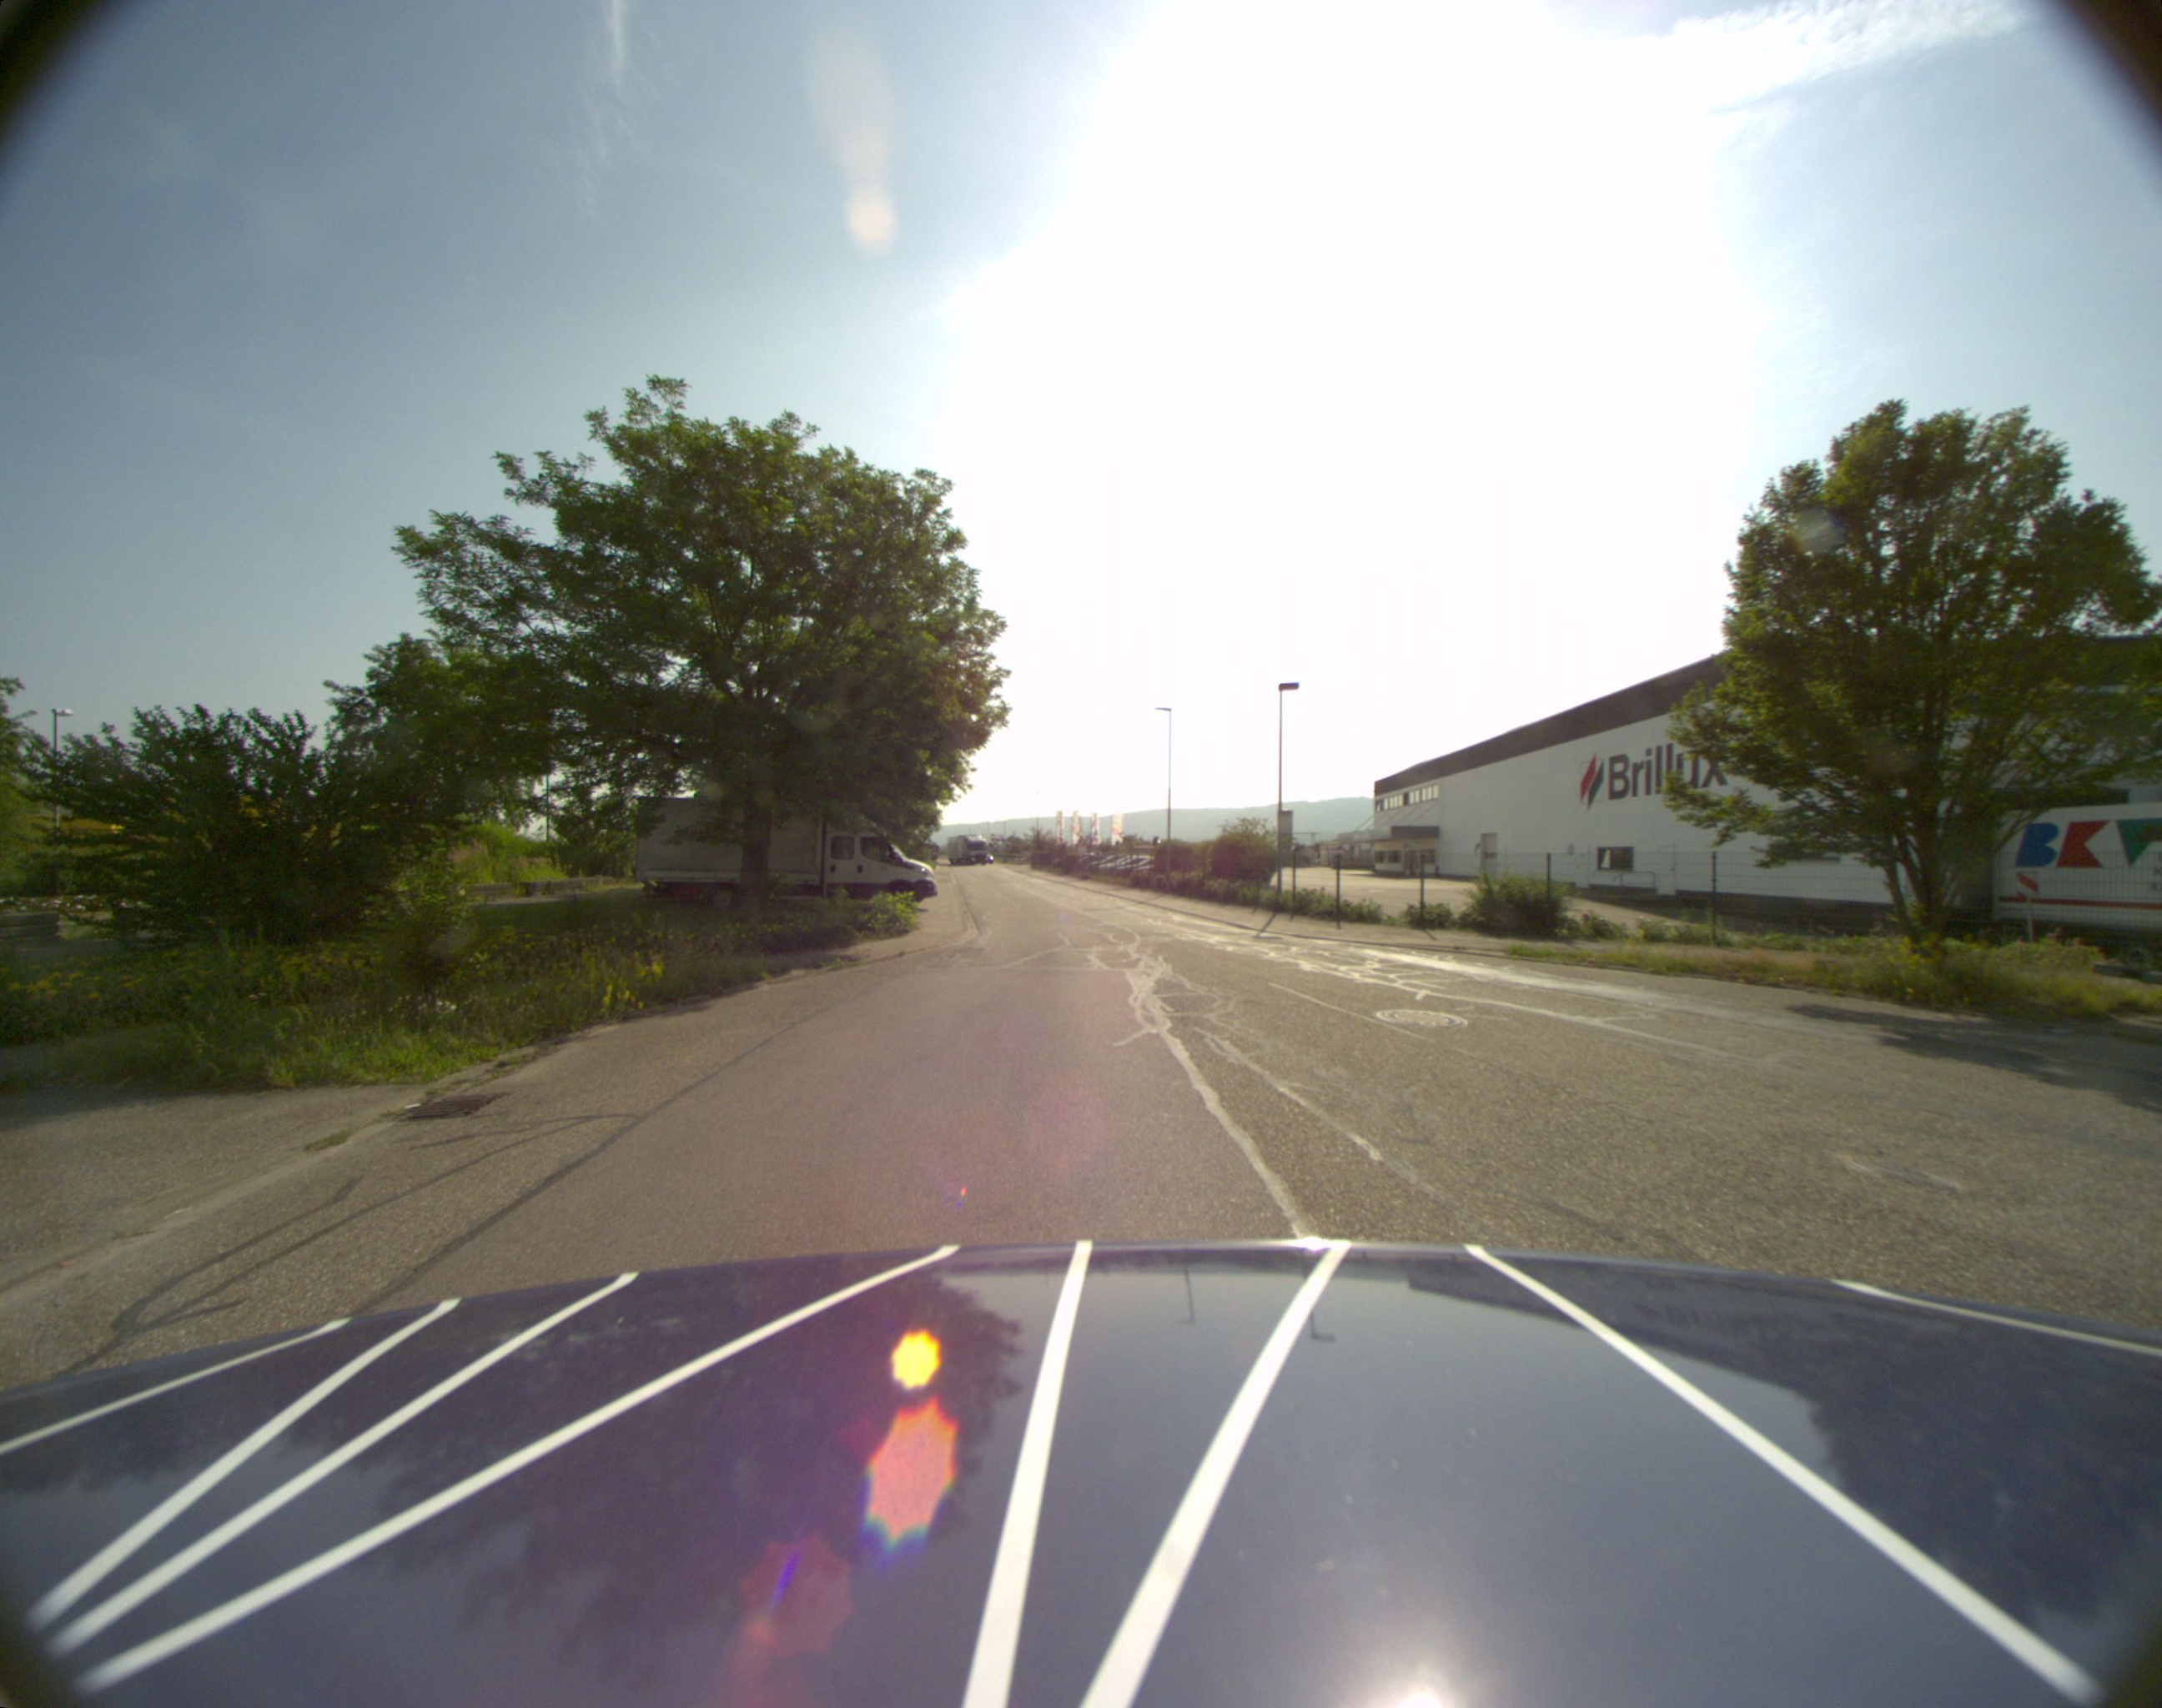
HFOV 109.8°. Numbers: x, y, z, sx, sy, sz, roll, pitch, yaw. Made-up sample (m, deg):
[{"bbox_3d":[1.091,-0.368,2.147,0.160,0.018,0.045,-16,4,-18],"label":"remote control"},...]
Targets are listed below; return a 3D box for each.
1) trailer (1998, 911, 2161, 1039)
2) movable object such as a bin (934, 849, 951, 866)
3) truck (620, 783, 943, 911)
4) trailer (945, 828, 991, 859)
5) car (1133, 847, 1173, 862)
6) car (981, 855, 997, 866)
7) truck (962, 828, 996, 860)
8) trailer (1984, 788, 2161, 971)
[{"bbox_3d":[11.600,1.177,4.991,2.555,0.920,6.702,-3,1,-11],"label":"trailer"},{"bbox_3d":[-26.601,0.670,146.141,2.438,2.994,5.744,1,1,-17],"label":"movable object such as a bin"},{"bbox_3d":[-8.203,-0.170,21.920,8.237,3.351,2.738,1,2,-11],"label":"truck"},{"bbox_3d":[-16.521,-1.552,110.219,3.503,4.184,14.205,-2,2,-21],"label":"trailer"},{"bbox_3d":[8.833,0.009,93.060,4.657,1.742,2.153,1,1,11],"label":"car"},{"bbox_3d":[-13.816,0.968,113.878,2.001,1.441,4.414,2,0,-12],"label":"car"},{"bbox_3d":[-13.969,-1.369,103.262,3.400,4.184,6.087,-2,2,-18],"label":"truck"},{"bbox_3d":[24.575,0.645,13.170,2.487,4.019,13.890,-1,2,6],"label":"trailer"}]
